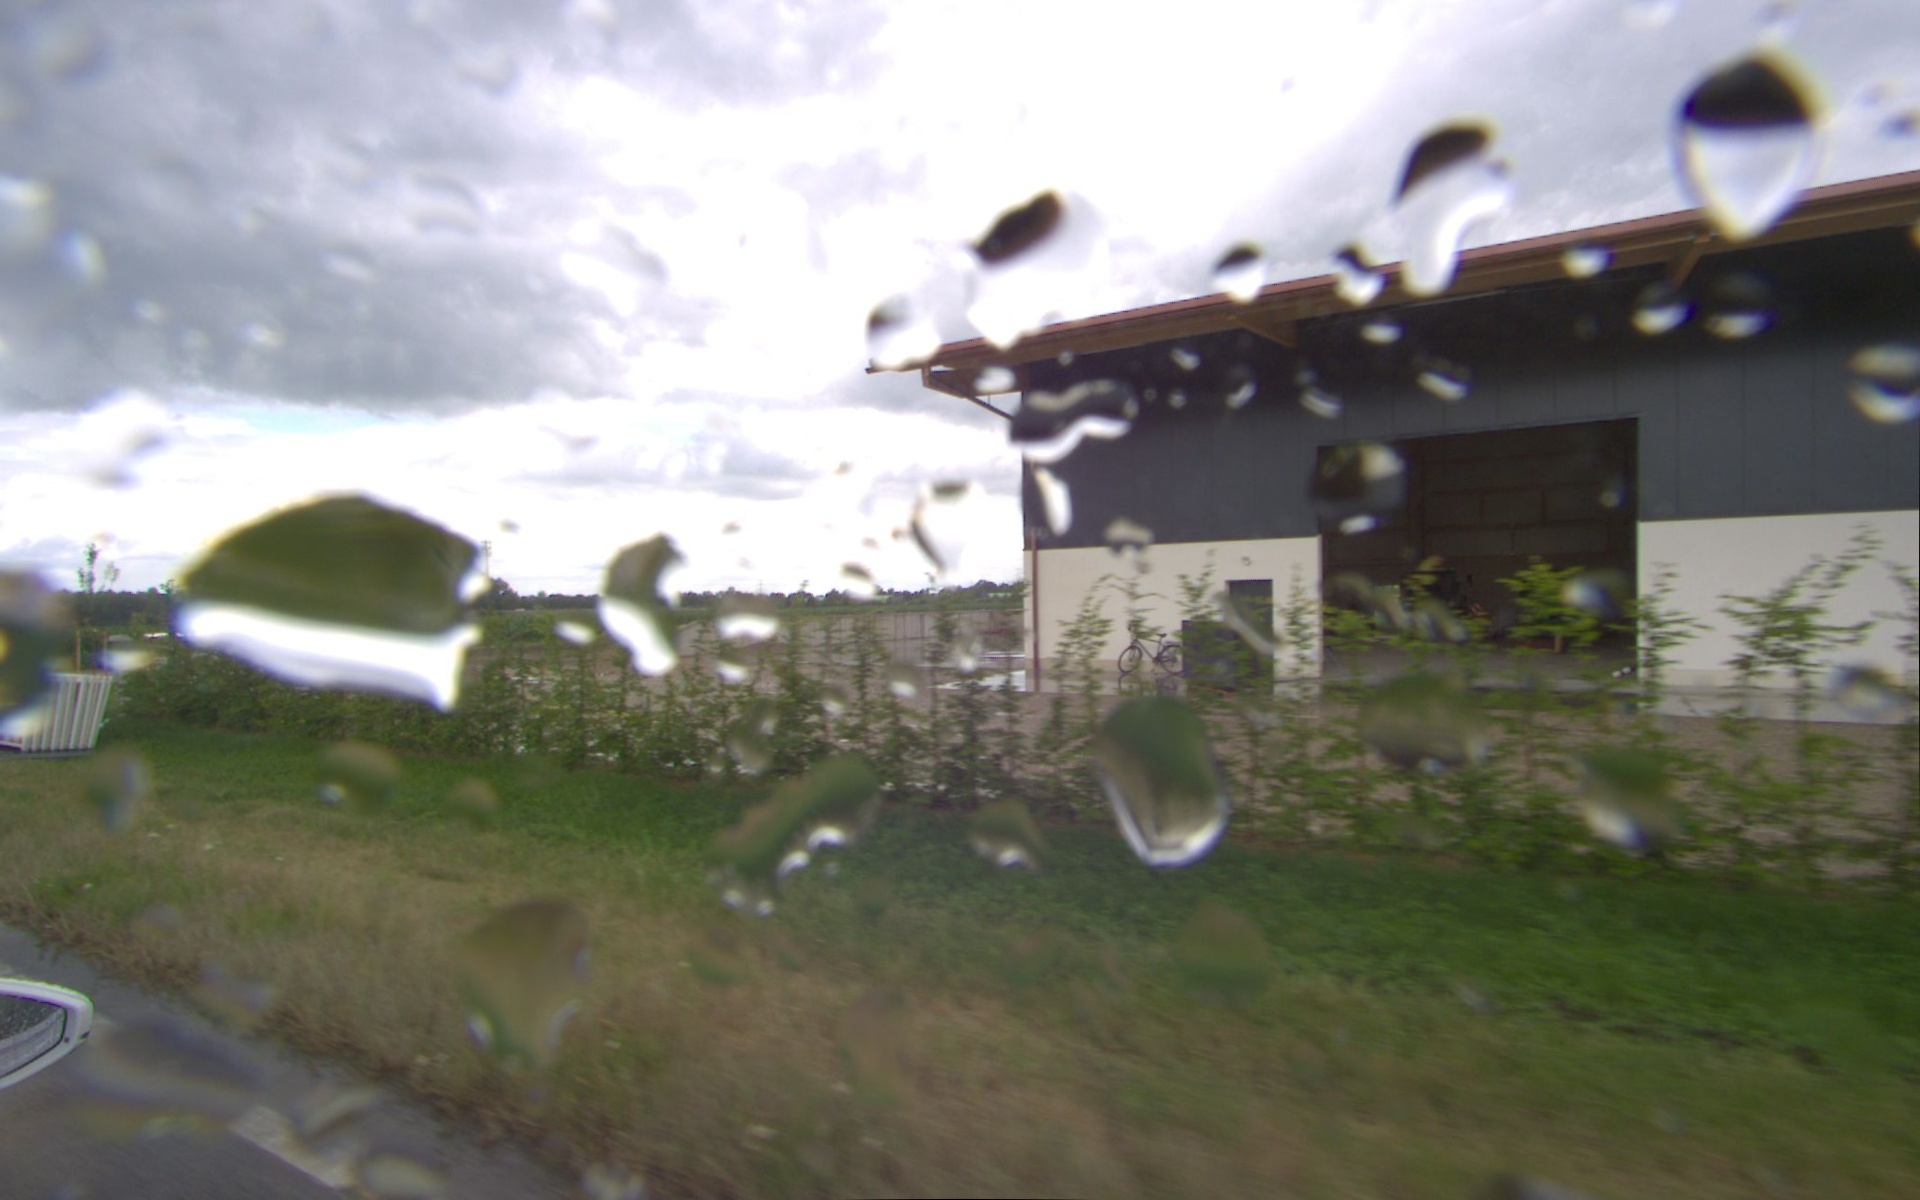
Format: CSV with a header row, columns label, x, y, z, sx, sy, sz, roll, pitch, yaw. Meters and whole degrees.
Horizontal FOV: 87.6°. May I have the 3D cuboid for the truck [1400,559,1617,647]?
label,x,y,z,sx,sy,sz,roll,pitch,yaw
truck,17.811,0.135,32.714,6.069,2.642,2.112,-1,0,33

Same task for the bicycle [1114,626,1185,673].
label,x,y,z,sx,sy,sz,roll,pitch,yaw
bicycle,4.525,1.169,23.990,1.637,1.086,0.389,-1,1,33
